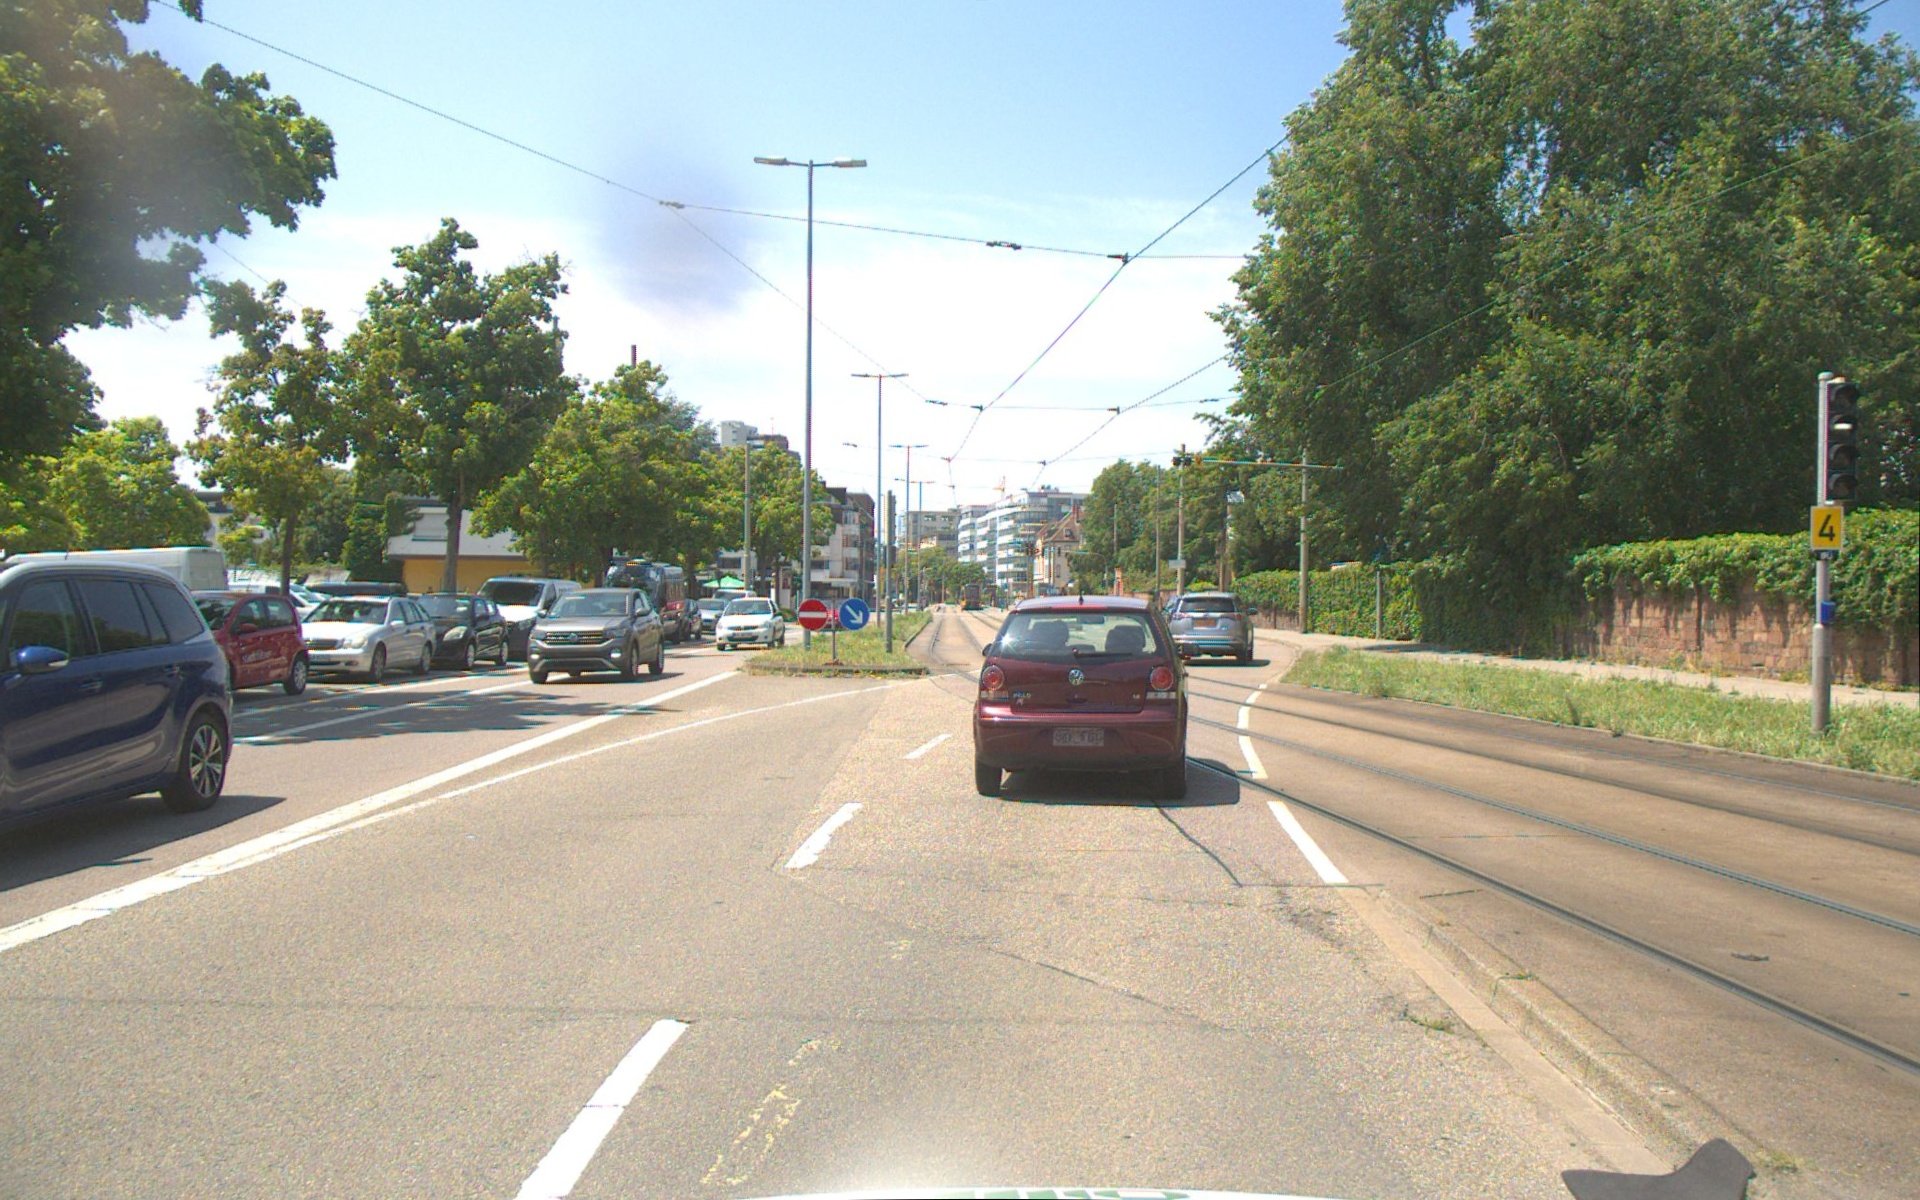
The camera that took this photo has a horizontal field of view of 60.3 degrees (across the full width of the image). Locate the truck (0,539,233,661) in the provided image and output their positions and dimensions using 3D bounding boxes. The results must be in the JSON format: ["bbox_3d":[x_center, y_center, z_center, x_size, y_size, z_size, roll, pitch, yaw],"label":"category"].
[{"bbox_3d":[-20.600,0.001,39.419,5.463,2.808,2.432,0,0,0],"label":"truck"}]

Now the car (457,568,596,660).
[{"bbox_3d":[-10.342,0.322,39.829,1.824,1.971,4.806,4,0,2],"label":"car"}]

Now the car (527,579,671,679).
[{"bbox_3d":[-6.205,0.473,28.788,1.702,1.603,3.712,-1,0,-1],"label":"car"}]

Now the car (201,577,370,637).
[{"bbox_3d":[-21.307,0.220,52.368,4.623,1.845,1.796,0,0,-2],"label":"car"}]

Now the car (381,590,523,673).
[{"bbox_3d":[-10.435,0.614,34.233,1.581,1.510,3.785,4,0,2],"label":"car"}]

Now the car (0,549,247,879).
[{"bbox_3d":[-5.767,0.590,9.383,1.702,1.686,4.066,-1,0,-1],"label":"car"}]

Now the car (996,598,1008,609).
[{"bbox_3d":[4.985,0.448,197.278,1.326,1.274,2.972,1,0,0],"label":"car"}]

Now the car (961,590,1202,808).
[{"bbox_3d":[1.135,0.700,13.648,1.575,1.524,4.003,-1,0,10],"label":"car"}]

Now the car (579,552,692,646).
[{"bbox_3d":[-10.429,-0.036,53.671,2.350,2.702,6.172,4,0,-1],"label":"car"}]

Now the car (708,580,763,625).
[{"bbox_3d":[-10.365,0.087,76.667,1.837,2.000,5.164,0,0,0],"label":"car"}]

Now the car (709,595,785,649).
[{"bbox_3d":[-5.946,0.608,46.500,1.615,1.400,3.811,-2,0,0],"label":"car"}]

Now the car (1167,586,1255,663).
[{"bbox_3d":[6.043,0.553,39.495,1.757,1.712,4.003,1,0,13],"label":"car"}]

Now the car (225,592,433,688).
[{"bbox_3d":[-10.519,0.616,27.966,1.683,1.452,4.770,1,0,0],"label":"car"}]

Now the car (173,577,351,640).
[{"bbox_3d":[-21.126,0.250,50.172,4.623,1.845,1.796,0,0,-2],"label":"car"}]

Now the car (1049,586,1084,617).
[{"bbox_3d":[6.145,0.081,95.702,1.758,1.712,4.000,0,0,0],"label":"car"}]

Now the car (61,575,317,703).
[{"bbox_3d":[-10.438,0.507,22.694,1.637,1.573,3.727,1,0,2],"label":"car"}]

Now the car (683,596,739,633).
[{"bbox_3d":[-10.414,0.596,69.496,1.597,1.444,3.868,2,0,2],"label":"car"}]

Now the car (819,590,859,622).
[{"bbox_3d":[-5.590,0.268,76.884,1.623,1.434,3.605,-1,0,-1],"label":"car"}]
